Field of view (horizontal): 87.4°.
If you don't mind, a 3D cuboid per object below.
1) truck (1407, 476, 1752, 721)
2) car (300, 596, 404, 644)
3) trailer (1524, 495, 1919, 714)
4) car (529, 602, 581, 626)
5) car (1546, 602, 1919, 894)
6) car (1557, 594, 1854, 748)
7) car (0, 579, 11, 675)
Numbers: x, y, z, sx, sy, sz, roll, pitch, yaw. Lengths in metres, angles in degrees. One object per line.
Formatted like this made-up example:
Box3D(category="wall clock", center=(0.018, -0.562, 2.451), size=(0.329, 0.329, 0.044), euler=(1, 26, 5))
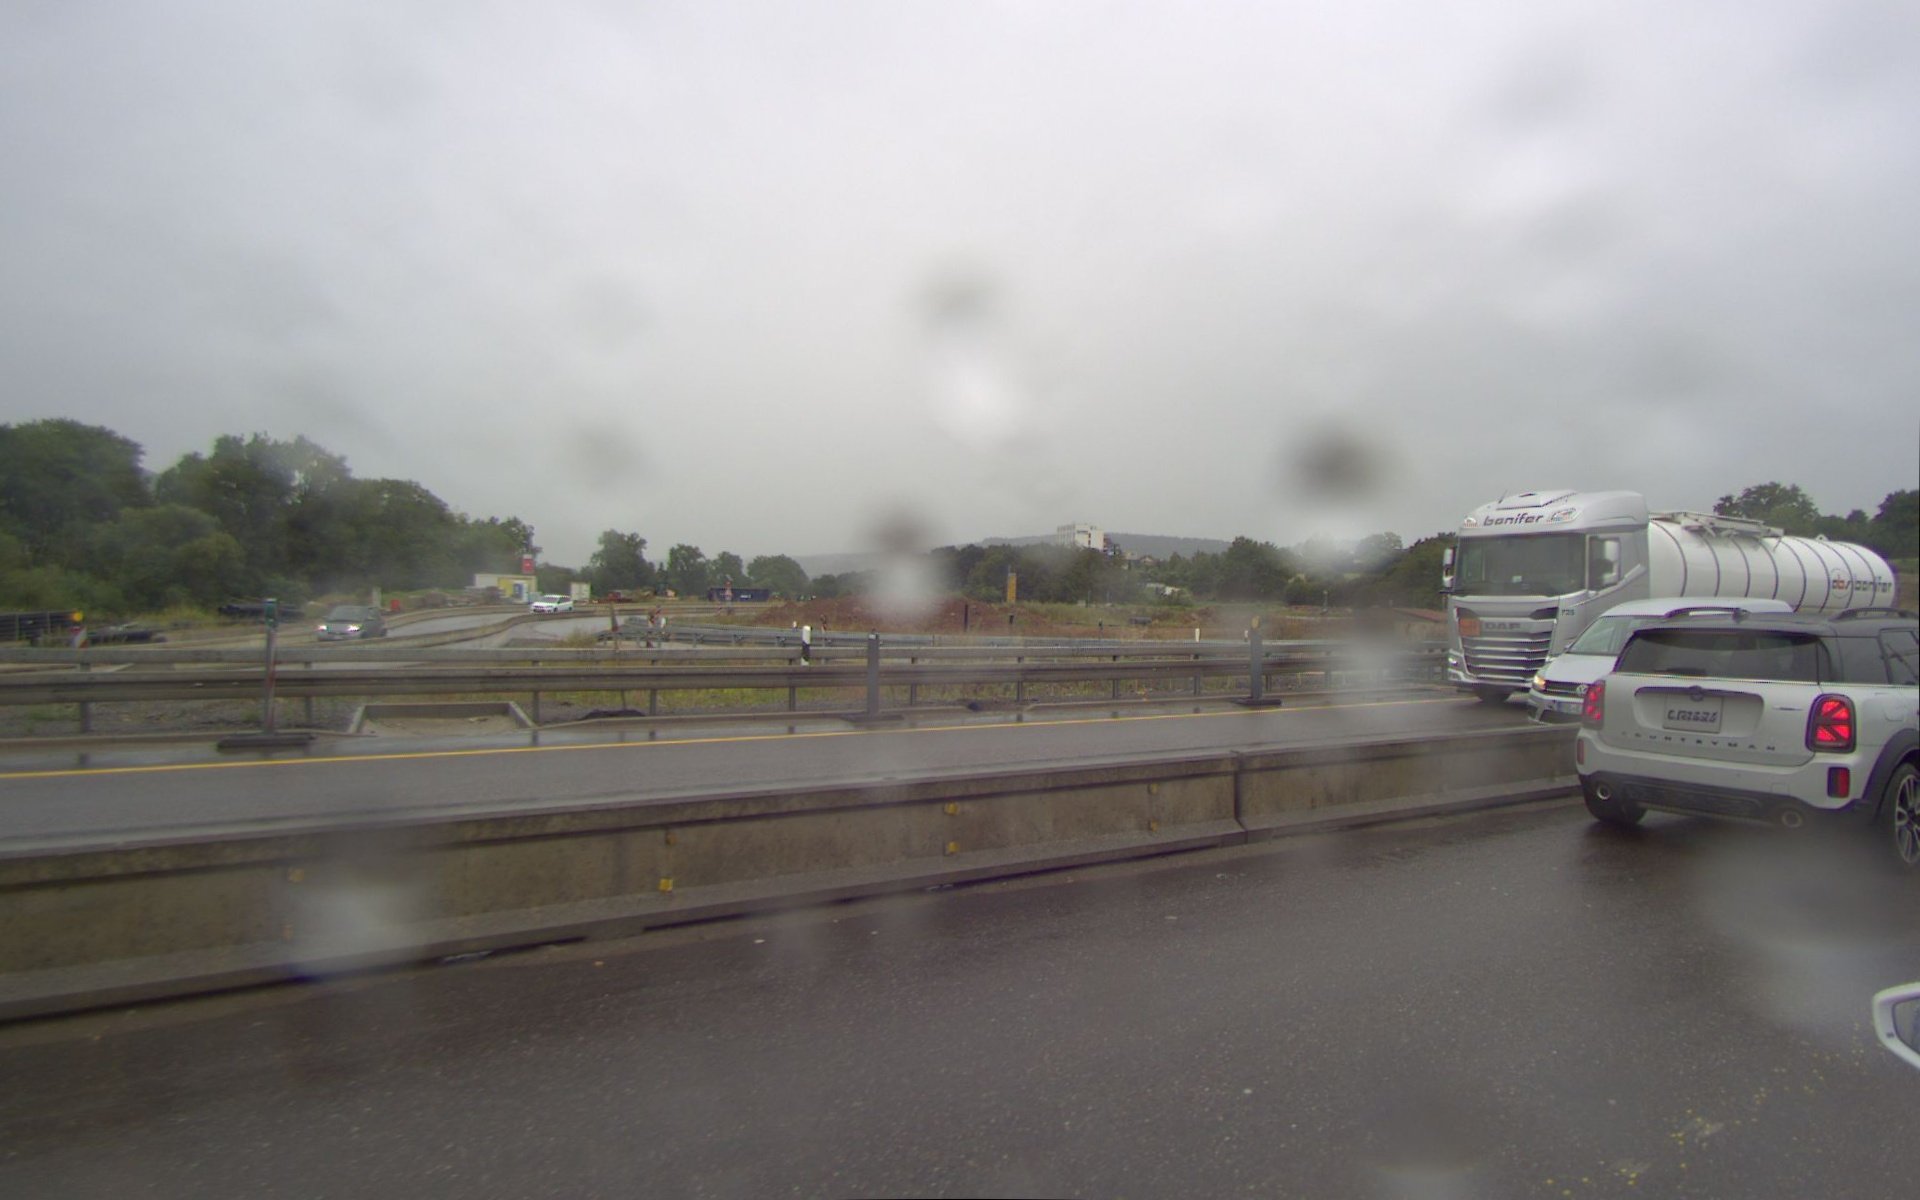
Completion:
Box3D(category="truck", center=(11.258, 0.047, 18.086), size=(6.520, 3.726, 2.607), euler=(1, -1, -31))
Box3D(category="car", center=(-23.322, 0.755, 38.743), size=(1.818, 1.722, 5.035), euler=(1, -1, -12))
Box3D(category="trailer", center=(16.634, 0.200, 21.355), size=(11.867, 3.726, 2.607), euler=(1, -1, -31))
Box3D(category="car", center=(-30.727, 1.047, 76.429), size=(1.814, 1.722, 5.046), euler=(1, -1, 1))
Box3D(category="car", center=(6.440, 0.851, 7.482), size=(4.259, 1.622, 1.806), euler=(1, 0, -32))
Box3D(category="car", center=(10.275, 0.890, 13.787), size=(4.115, 1.824, 1.856), euler=(1, -1, -31))
Box3D(category="car", center=(-22.117, 0.534, 19.683), size=(2.029, 2.090, 4.846), euler=(1, -1, 9))
